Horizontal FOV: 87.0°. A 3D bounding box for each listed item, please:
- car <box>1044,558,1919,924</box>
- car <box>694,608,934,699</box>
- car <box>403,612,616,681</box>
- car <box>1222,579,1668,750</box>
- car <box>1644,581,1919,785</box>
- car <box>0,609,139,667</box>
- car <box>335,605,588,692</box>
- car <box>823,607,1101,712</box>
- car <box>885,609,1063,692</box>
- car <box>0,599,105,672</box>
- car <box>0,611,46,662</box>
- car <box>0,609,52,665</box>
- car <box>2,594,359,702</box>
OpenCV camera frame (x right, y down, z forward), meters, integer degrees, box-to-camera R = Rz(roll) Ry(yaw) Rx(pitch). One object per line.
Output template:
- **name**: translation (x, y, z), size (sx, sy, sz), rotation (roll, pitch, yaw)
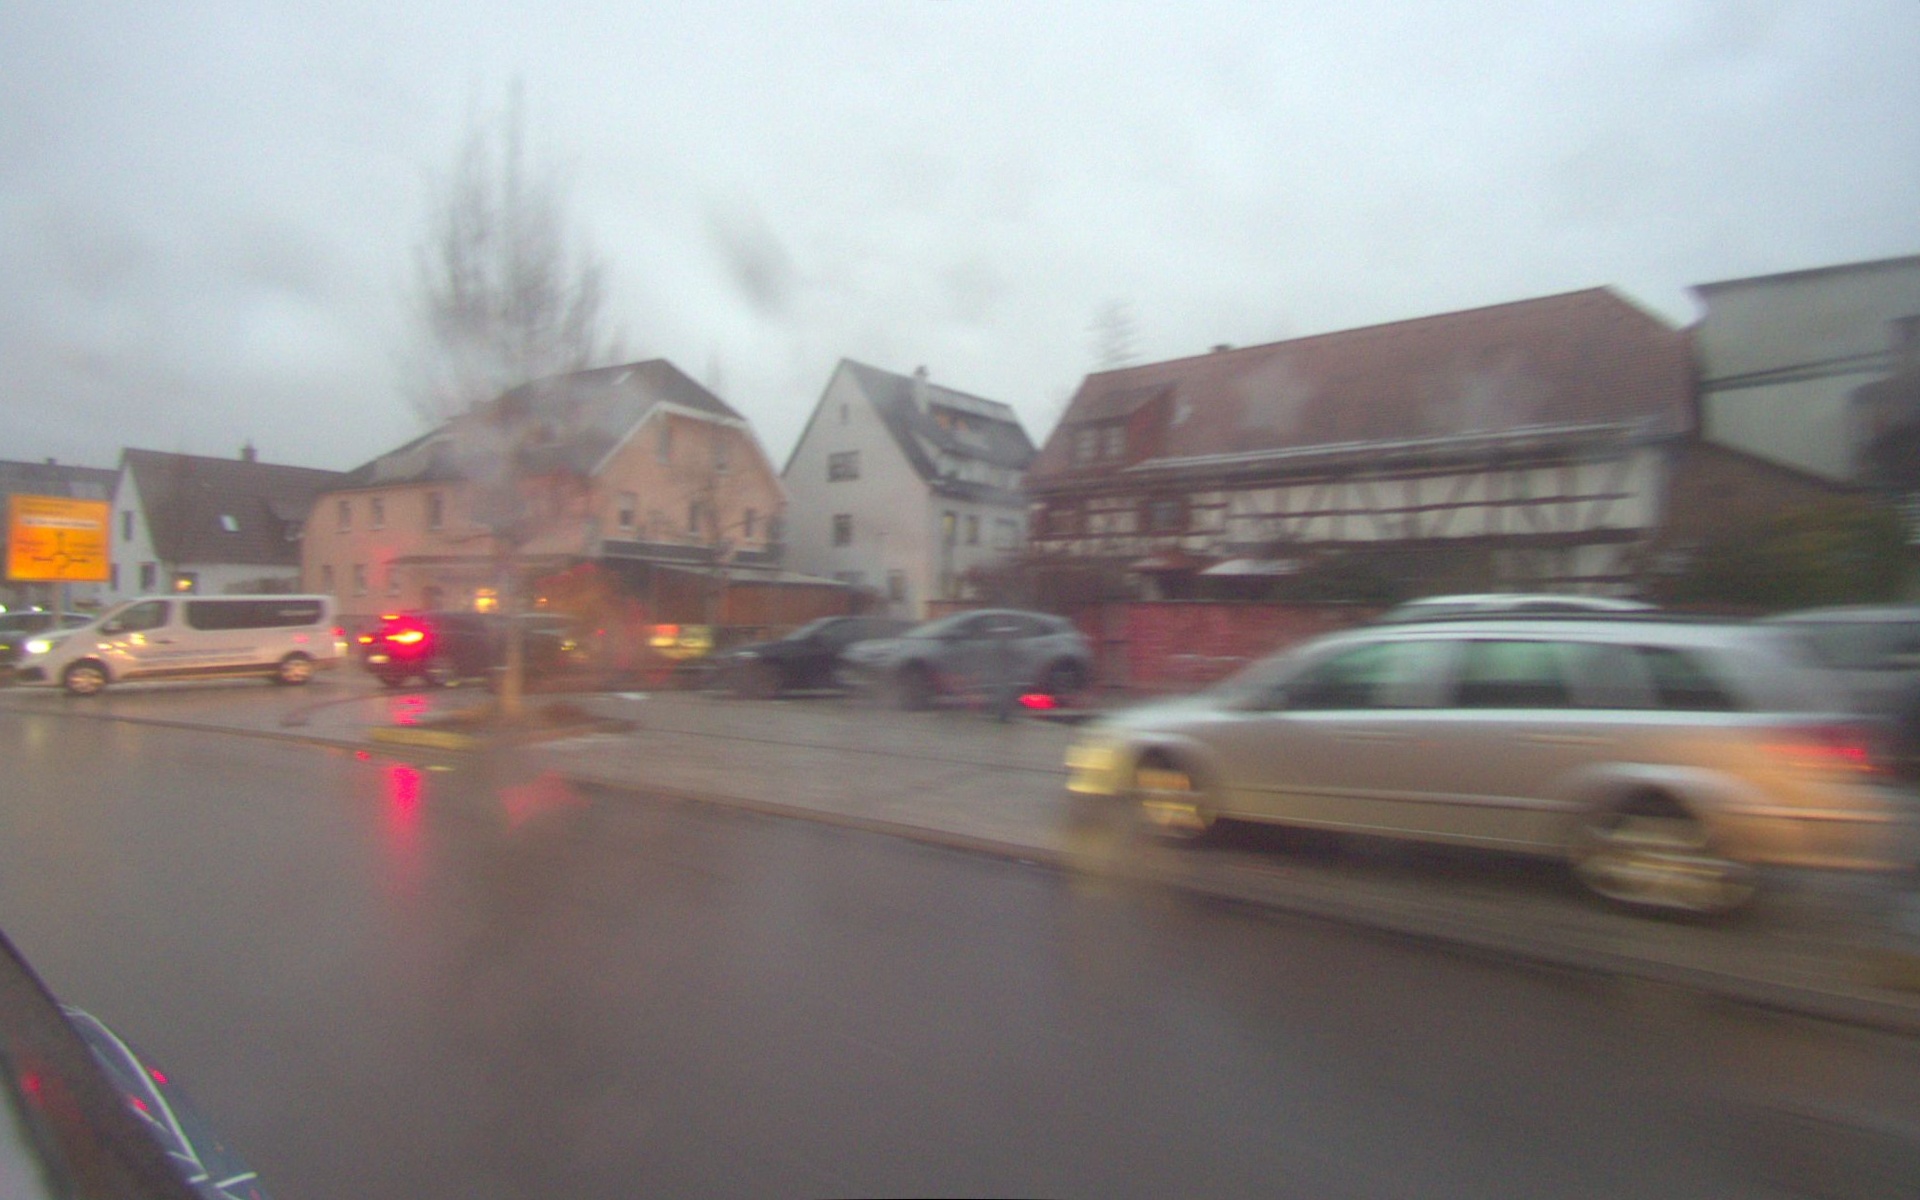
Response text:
- **car**: translation (2.834, 0.646, 6.260), size (4.245, 1.545, 1.889), rotation (-1, -1, 34)
- **car**: translation (-2.587, 0.925, 17.923), size (3.865, 1.470, 1.768), rotation (1, -3, -24)
- **car**: translation (-11.693, 1.254, 26.579), size (1.998, 1.648, 4.706), rotation (-3, -4, 40)
- **car**: translation (5.551, 0.678, 11.645), size (4.575, 1.666, 1.994), rotation (1, -1, -20)
- **car**: translation (8.655, 0.720, 9.444), size (4.042, 1.594, 1.726), rotation (2, -2, -20)
- **car**: translation (-28.282, 1.168, 30.745), size (1.993, 1.697, 4.828), rotation (-2, -3, 32)
- **car**: translation (-10.461, 0.957, 21.577), size (2.148, 1.644, 4.402), rotation (0, -1, 31)
- **car**: translation (0.038, 0.875, 15.942), size (4.003, 1.470, 1.763), rotation (1, -1, -25)
- **car**: translation (0.266, 1.111, 23.695), size (3.997, 1.741, 1.698), rotation (-1, 0, 41)
- **car**: translation (-23.165, 0.844, 24.026), size (1.992, 1.697, 3.959), rotation (-1, -2, 30)
- **car**: translation (-35.126, 1.286, 35.365), size (1.837, 1.815, 4.383), rotation (-1, -2, 30)
- **car**: translation (-33.183, 1.234, 33.369), size (1.861, 1.881, 4.471), rotation (-1, -2, 30)
- **car**: translation (-16.104, 0.896, 21.212), size (1.991, 1.961, 5.696), rotation (-2, -1, 44)
